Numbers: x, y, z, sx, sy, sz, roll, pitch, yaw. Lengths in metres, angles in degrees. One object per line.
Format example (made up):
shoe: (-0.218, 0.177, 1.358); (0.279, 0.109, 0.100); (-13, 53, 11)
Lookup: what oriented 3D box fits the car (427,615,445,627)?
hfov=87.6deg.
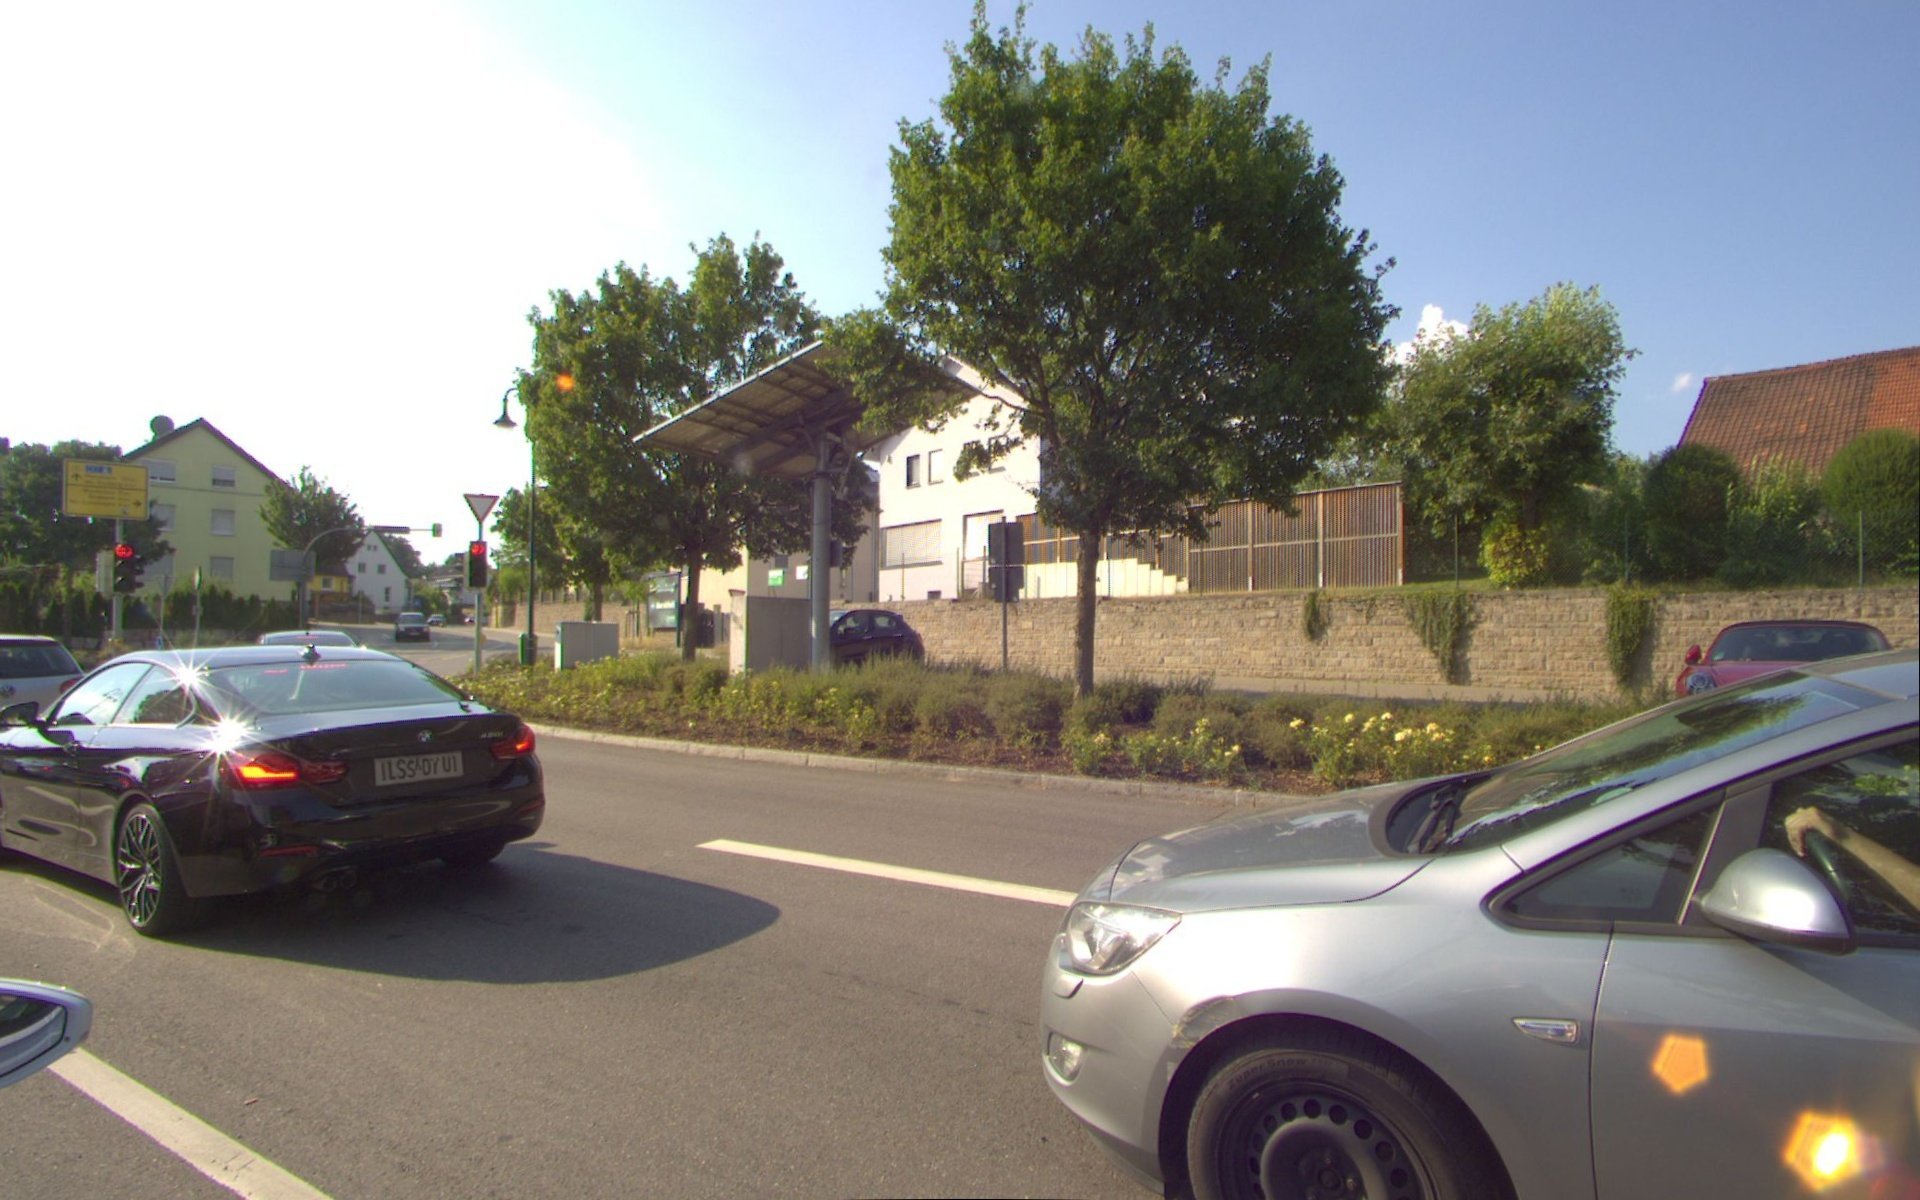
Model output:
car: (-62.307, 2.501, 119.016); (1.689, 1.261, 3.982); (1, 2, -25)

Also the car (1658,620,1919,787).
car: (8.258, 0.868, 9.689); (1.835, 1.288, 3.964); (-1, -2, 45)

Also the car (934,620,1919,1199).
car: (2.125, 0.783, 2.212); (4.107, 1.460, 1.741); (-1, -2, 32)

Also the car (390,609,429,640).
car: (-31.838, 1.369, 58.011); (1.764, 1.528, 4.049); (-1, 3, -27)

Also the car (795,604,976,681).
car: (-1.656, 0.964, 23.181); (1.835, 1.628, 3.964); (-1, -2, 45)

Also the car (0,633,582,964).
car: (-4.468, 0.915, 6.259); (4.287, 1.406, 1.812); (-1, -2, 34)

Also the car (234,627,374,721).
car: (-11.821, 1.219, 17.905); (1.667, 1.454, 4.553); (1, -2, -39)

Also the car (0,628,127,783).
car: (-10.846, 1.037, 10.748); (4.287, 1.465, 1.812); (-1, -2, 34)
